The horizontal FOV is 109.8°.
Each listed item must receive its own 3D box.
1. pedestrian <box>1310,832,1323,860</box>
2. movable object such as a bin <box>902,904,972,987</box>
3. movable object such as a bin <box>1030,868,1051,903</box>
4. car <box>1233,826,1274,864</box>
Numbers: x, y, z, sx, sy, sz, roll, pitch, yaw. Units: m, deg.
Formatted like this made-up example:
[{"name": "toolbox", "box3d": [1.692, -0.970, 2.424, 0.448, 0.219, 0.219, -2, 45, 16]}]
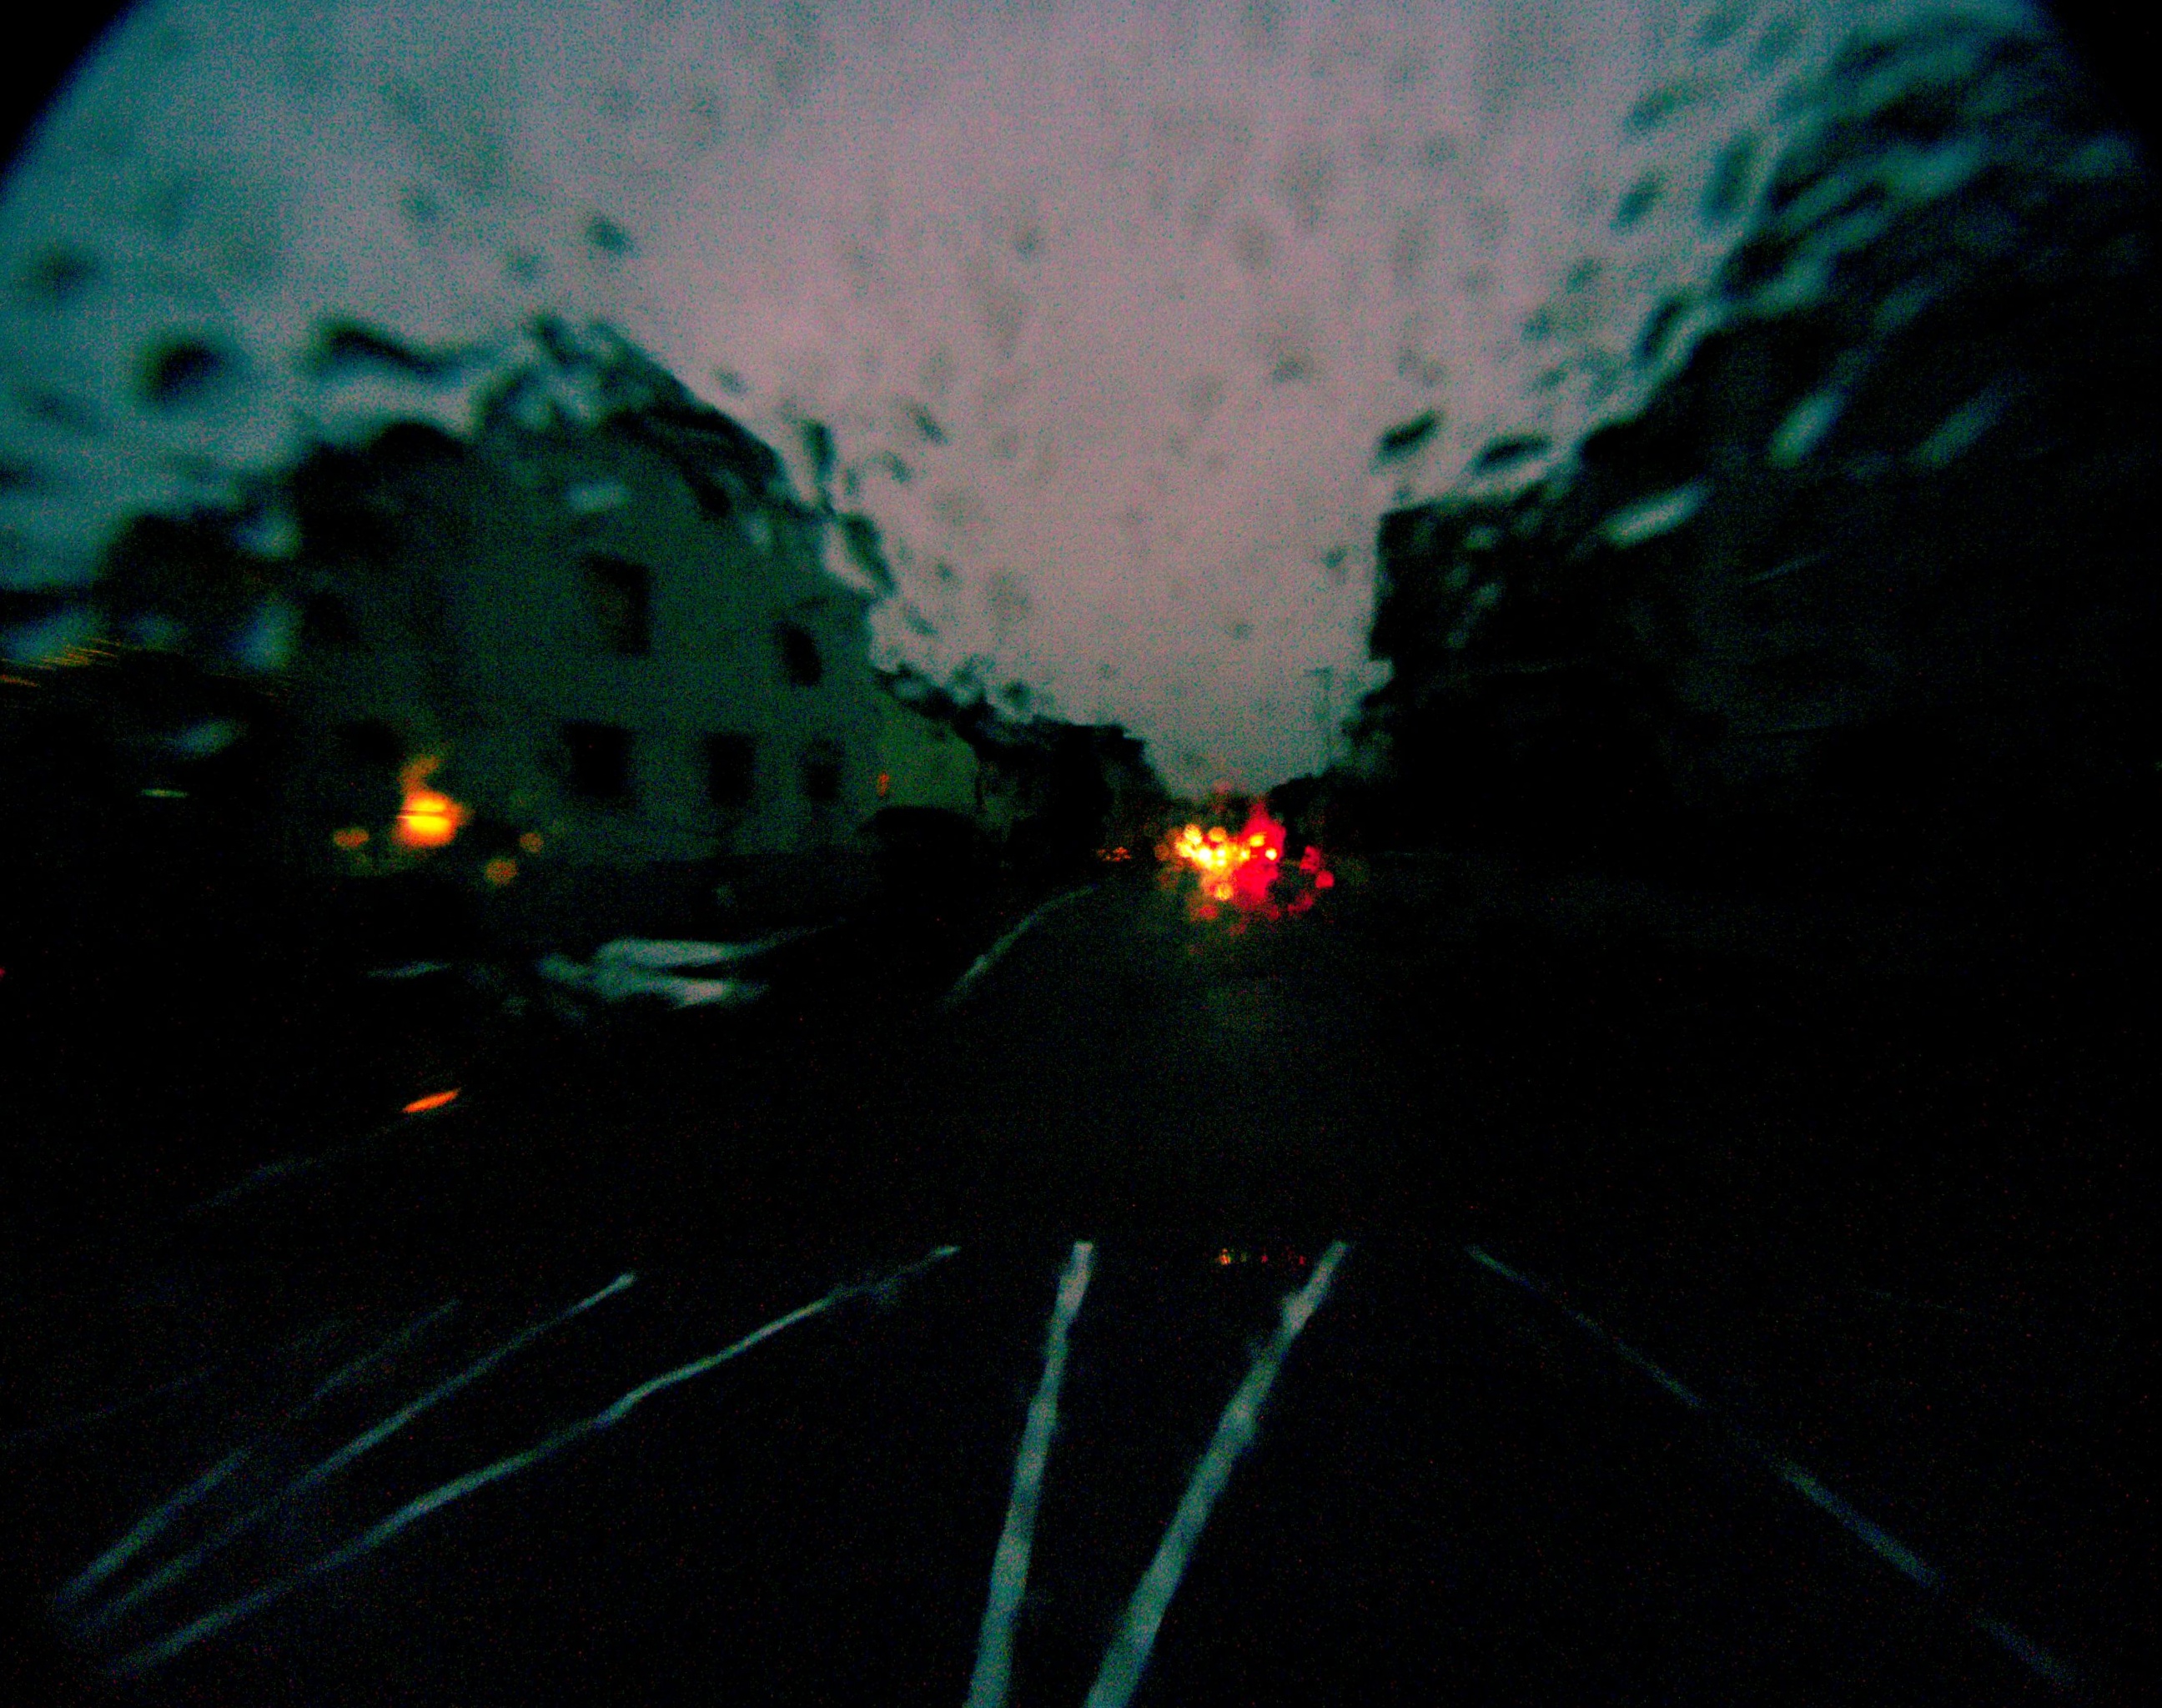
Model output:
[{"name": "pedestrian", "box3d": [14.703, -0.507, 47.453, 0.598, 1.723, 0.813, -3, 2, 21]}, {"name": "movable object such as a bin", "box3d": [-1.774, 1.123, 9.440, 0.638, 0.912, 0.686, -3, 1, 5]}, {"name": "movable object such as a bin", "box3d": [-1.165, 0.893, 21.870, 0.539, 0.933, 0.689, -3, 1, -1]}, {"name": "car", "box3d": [10.001, -0.539, 43.779, 2.113, 2.015, 4.987, -1, 1, 14]}]
